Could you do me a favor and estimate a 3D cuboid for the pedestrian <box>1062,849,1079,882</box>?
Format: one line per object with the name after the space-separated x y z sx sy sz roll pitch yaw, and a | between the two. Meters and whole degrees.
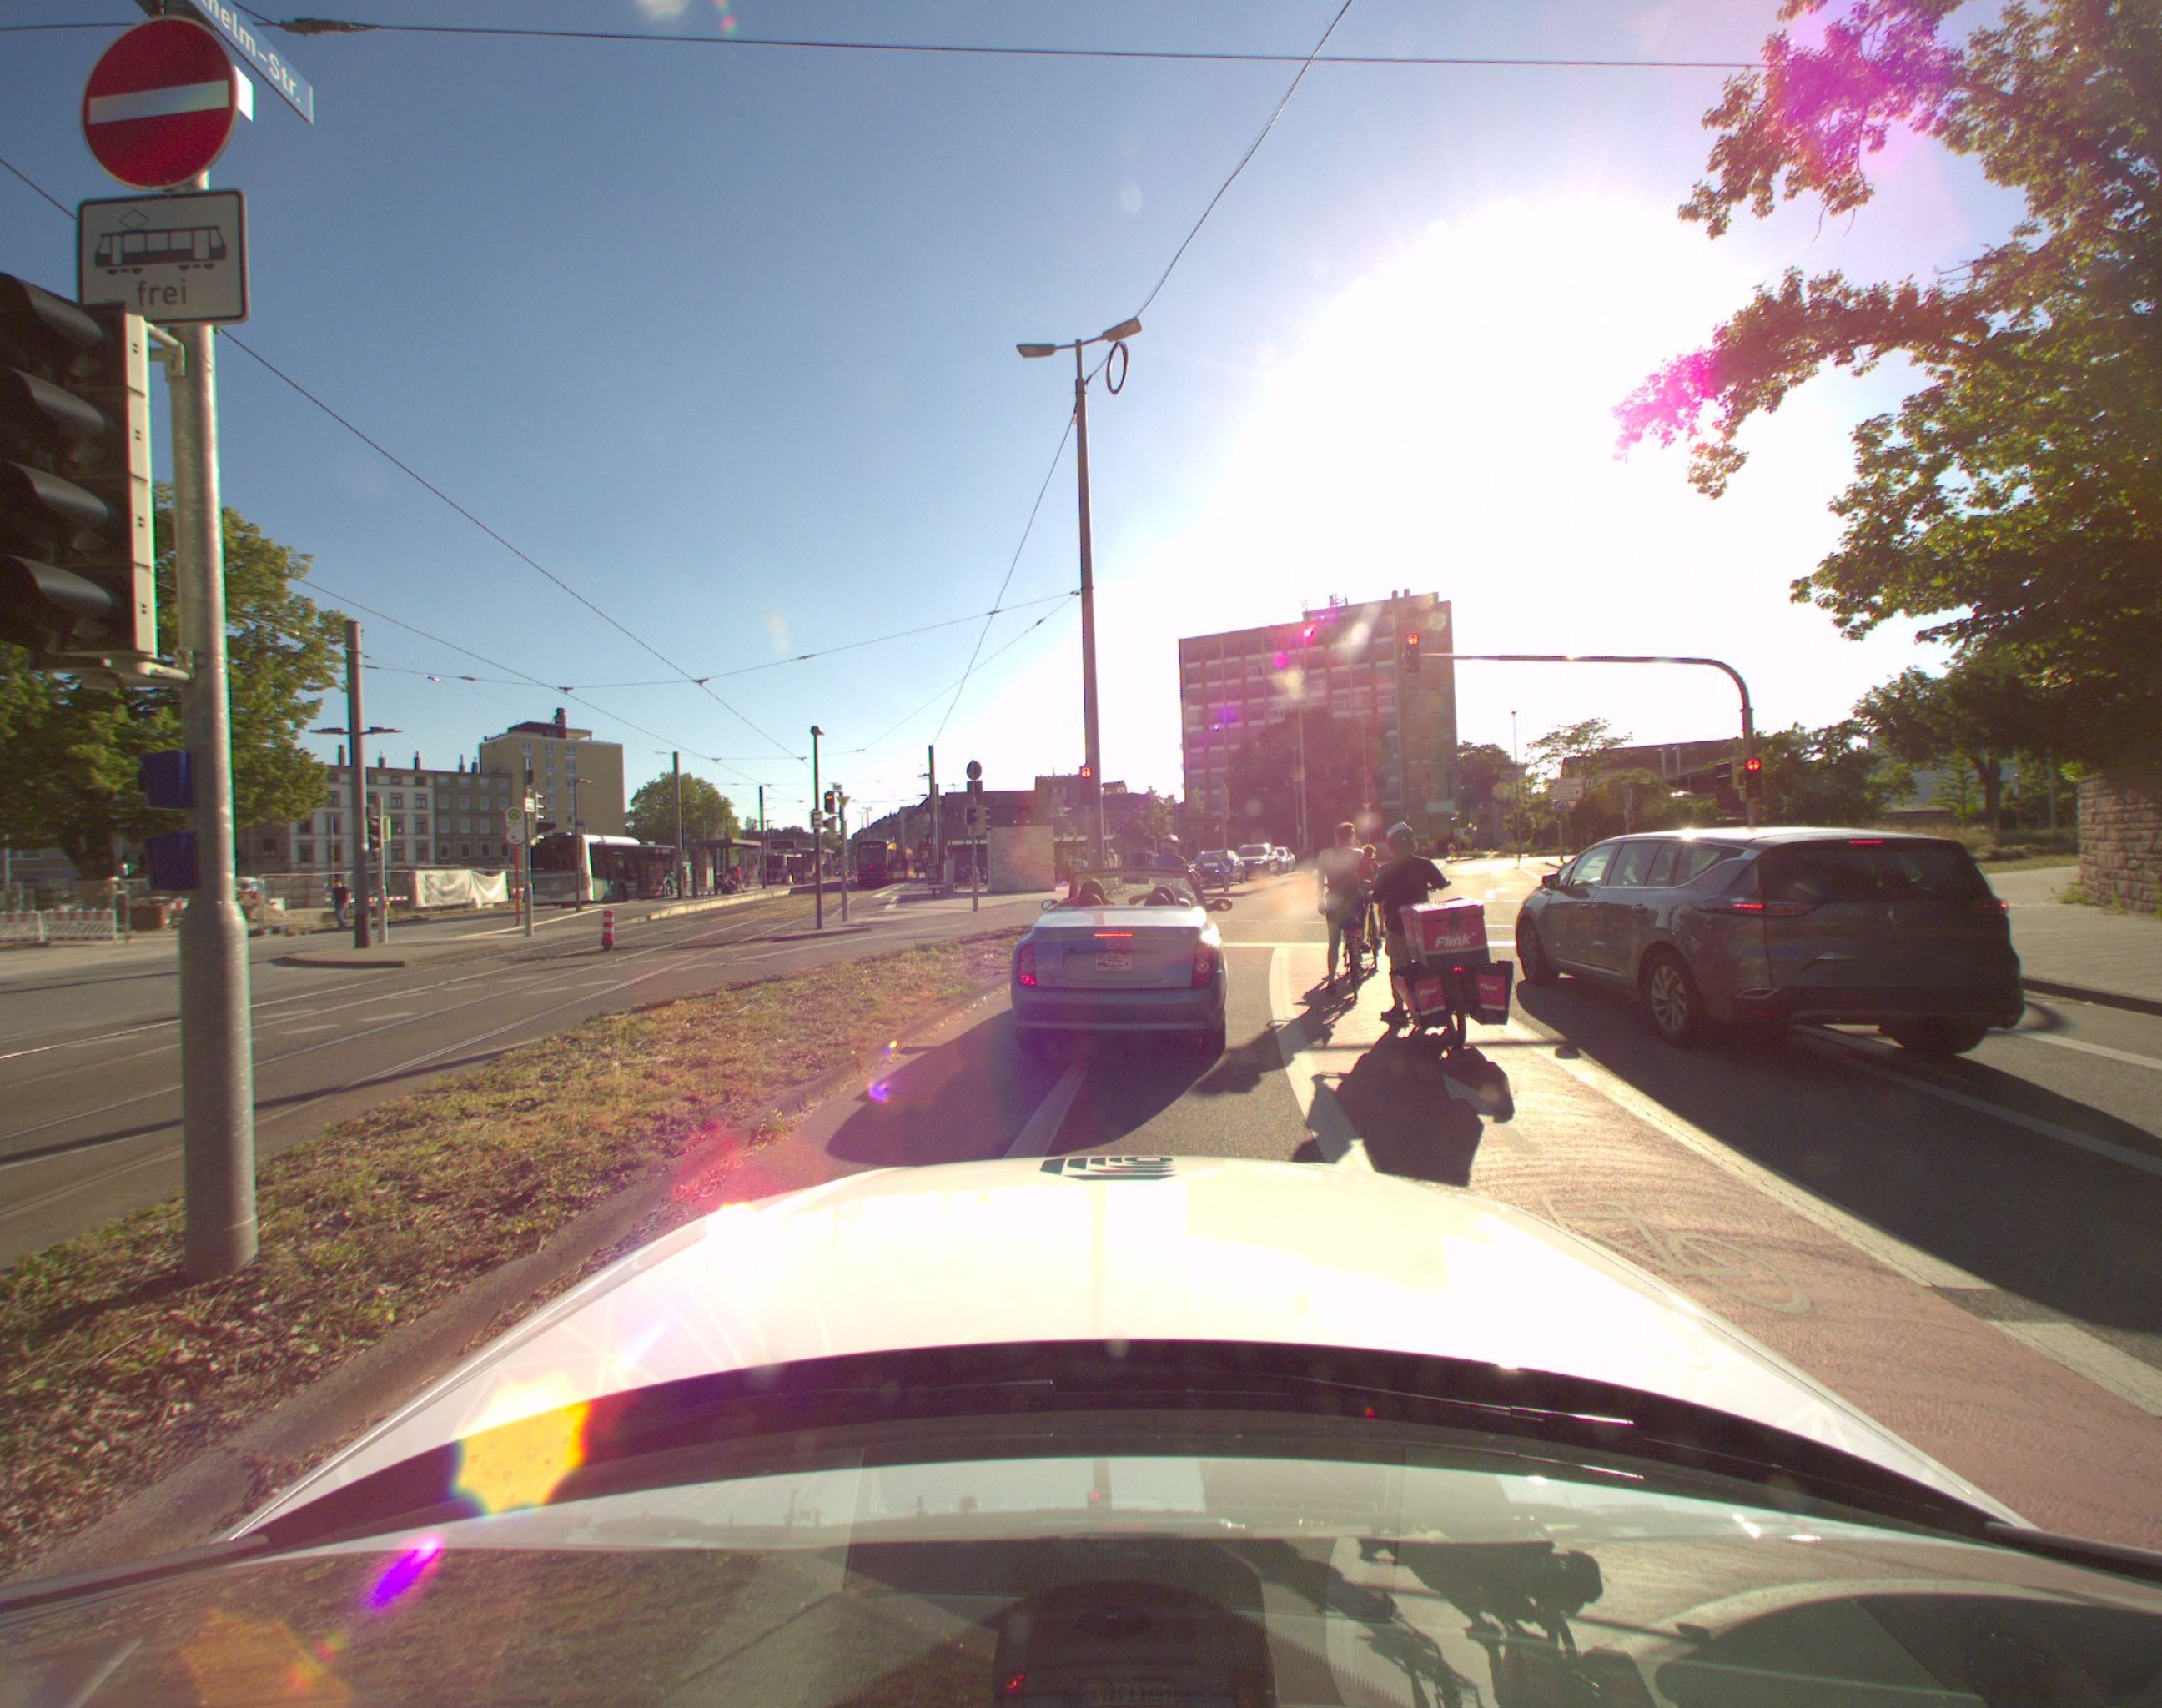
-0.607 0.661 47.019 0.901 1.869 0.684 0 -1 -11 | pedestrian

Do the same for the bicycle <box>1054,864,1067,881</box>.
-1.346 1.194 53.211 0.607 1.115 1.890 0 -1 -10 | bicycle

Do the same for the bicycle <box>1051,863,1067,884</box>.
-1.253 1.081 45.292 0.607 1.115 1.890 0 -1 -10 | bicycle

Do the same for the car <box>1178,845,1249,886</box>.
5.547 0.469 33.639 1.720 1.574 3.948 -1 -1 28 | car

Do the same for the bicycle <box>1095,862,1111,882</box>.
1.239 1.006 45.676 0.606 1.115 1.892 0 -1 -7 | bicycle

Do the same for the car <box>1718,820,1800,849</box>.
53.209 -1.512 64.003 4.645 1.945 1.927 -3 -1 32 | car

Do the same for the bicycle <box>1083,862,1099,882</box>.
0.557 1.055 47.711 0.607 1.115 1.890 0 -1 -10 | bicycle

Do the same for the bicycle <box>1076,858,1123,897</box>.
0.675 0.811 28.966 0.668 1.250 2.471 -5 -1 24 | bicycle

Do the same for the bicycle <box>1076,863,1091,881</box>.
0.131 1.137 51.410 0.607 1.115 1.890 0 -1 -10 | bicycle

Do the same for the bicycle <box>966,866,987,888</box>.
-5.466 1.203 42.732 0.603 1.115 1.901 -1 -1 8 | bicycle

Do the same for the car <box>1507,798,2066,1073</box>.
5.541 0.522 7.317 1.820 1.689 4.381 -1 -1 10 | car

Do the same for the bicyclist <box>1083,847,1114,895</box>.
0.628 0.596 28.900 0.702 1.657 0.906 -5 -2 24 | bicyclist

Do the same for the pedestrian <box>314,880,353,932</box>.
-25.565 1.762 27.869 0.712 1.697 0.893 -3 -2 -25 | pedestrian

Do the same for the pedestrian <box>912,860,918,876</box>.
-18.442 1.547 90.490 0.604 1.749 0.830 -2 -1 -6 | pedestrian

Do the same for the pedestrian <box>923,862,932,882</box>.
-13.806 1.575 73.131 0.639 1.749 0.732 -2 -1 -17 | pedestrian

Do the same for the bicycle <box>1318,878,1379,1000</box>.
2.933 0.863 9.018 0.559 1.151 1.958 -1 -1 17 | bicycle

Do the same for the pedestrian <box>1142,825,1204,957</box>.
1.369 0.527 12.054 0.828 1.869 0.923 -1 -1 10 | pedestrian

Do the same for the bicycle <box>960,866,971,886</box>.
-6.560 1.251 46.290 0.606 1.115 1.891 0 -1 -8 | bicycle

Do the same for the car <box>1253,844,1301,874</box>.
11.166 0.251 46.213 1.678 1.560 4.004 -3 0 28 | car

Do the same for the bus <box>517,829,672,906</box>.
-22.370 0.573 38.219 2.652 3.135 9.617 0 -1 -8 | bus

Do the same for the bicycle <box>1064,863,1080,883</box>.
-0.542 1.093 47.349 0.607 1.115 1.890 0 -1 -10 | bicycle

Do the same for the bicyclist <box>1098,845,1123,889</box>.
1.147 0.490 31.598 0.702 1.657 0.747 -3 -1 24 | bicyclist

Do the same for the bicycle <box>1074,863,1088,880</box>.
-0.030 1.132 53.387 0.607 1.115 1.890 0 -1 -10 | bicycle

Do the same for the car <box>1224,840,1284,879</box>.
8.506 0.237 39.691 1.745 1.706 4.557 -4 -1 26 | car

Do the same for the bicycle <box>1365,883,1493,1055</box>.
2.934 0.873 7.091 0.550 1.171 2.380 -1 -1 12 | bicycle

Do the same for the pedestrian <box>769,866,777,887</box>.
-25.391 1.866 67.152 0.571 1.749 0.636 -2 -1 -17 | pedestrian

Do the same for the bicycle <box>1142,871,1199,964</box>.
1.358 0.866 11.984 0.604 1.191 2.422 -1 -1 12 | bicycle

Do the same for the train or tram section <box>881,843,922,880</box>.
-18.600 0.813 85.225 3.037 3.597 12.021 0 0 -7 | train or tram section

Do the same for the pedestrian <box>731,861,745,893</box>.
-19.111 1.276 45.336 0.571 1.749 0.636 -2 -1 -15 | pedestrian

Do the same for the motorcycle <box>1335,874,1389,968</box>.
3.827 0.844 11.101 0.608 1.097 2.371 -1 -1 19 | motorcycle

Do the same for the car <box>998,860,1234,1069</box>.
0.549 0.782 7.793 1.650 1.441 4.164 -1 -1 9 | car

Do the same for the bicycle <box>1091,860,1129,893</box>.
1.154 0.847 31.569 0.668 1.180 2.195 -3 0 24 | bicycle

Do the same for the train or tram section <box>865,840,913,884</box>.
-17.066 0.705 73.254 3.010 3.597 12.165 0 -1 -8 | train or tram section

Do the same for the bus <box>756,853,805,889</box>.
-29.668 1.588 80.945 2.723 3.274 13.409 0 -1 -12 | bus

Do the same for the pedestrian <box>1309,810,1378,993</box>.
2.836 0.490 8.835 0.654 1.869 0.876 -1 -1 17 | pedestrian

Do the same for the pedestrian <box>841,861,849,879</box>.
-24.002 1.640 82.823 0.641 1.749 0.567 -2 -1 -25 | pedestrian

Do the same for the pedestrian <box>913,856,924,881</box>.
-11.793 1.069 59.013 0.639 1.749 0.569 -2 -1 -17 | pedestrian

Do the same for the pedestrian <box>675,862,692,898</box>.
-19.643 1.272 40.233 0.536 1.749 0.559 -2 -1 -4 | pedestrian

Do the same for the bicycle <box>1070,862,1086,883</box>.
-0.179 1.028 45.408 0.607 1.115 1.890 0 -1 -10 | bicycle

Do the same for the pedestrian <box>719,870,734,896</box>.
-18.602 1.521 42.773 0.617 1.340 0.438 -2 -1 -15 | pedestrian

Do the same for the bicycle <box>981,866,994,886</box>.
-5.374 1.225 46.731 0.607 1.115 1.890 0 -1 -10 | bicycle

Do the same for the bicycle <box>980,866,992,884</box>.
-5.901 1.287 50.621 0.607 1.115 1.890 0 -1 -10 | bicycle

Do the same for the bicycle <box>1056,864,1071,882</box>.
-1.104 1.163 51.237 0.607 1.115 1.890 0 -1 -10 | bicycle

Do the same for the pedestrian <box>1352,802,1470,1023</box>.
2.977 0.502 7.444 0.801 1.869 0.959 -1 -1 10 | pedestrian

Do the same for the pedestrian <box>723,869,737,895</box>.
-18.732 1.475 43.460 0.571 1.346 0.636 -2 -1 -15 | pedestrian

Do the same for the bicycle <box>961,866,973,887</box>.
-6.212 1.232 44.356 0.607 1.115 1.890 0 -1 -10 | bicycle

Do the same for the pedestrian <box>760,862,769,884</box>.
-26.724 1.606 68.828 0.641 1.749 0.567 -2 -1 -25 | pedestrian

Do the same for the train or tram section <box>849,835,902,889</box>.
-15.261 0.582 61.212 2.881 3.597 12.158 0 -1 -10 | train or tram section

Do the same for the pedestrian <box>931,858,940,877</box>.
-13.162 1.211 73.795 0.639 1.749 0.732 -2 -1 -17 | pedestrian

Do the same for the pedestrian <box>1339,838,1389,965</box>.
3.770 0.605 10.842 0.583 1.598 1.030 -1 -1 19 | pedestrian

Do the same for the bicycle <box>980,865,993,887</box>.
-5.177 1.193 44.662 0.607 1.115 1.890 0 -1 -10 | bicycle

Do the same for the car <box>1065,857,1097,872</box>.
-0.030 1.177 88.860 1.653 1.560 3.559 -2 0 -37 | car
